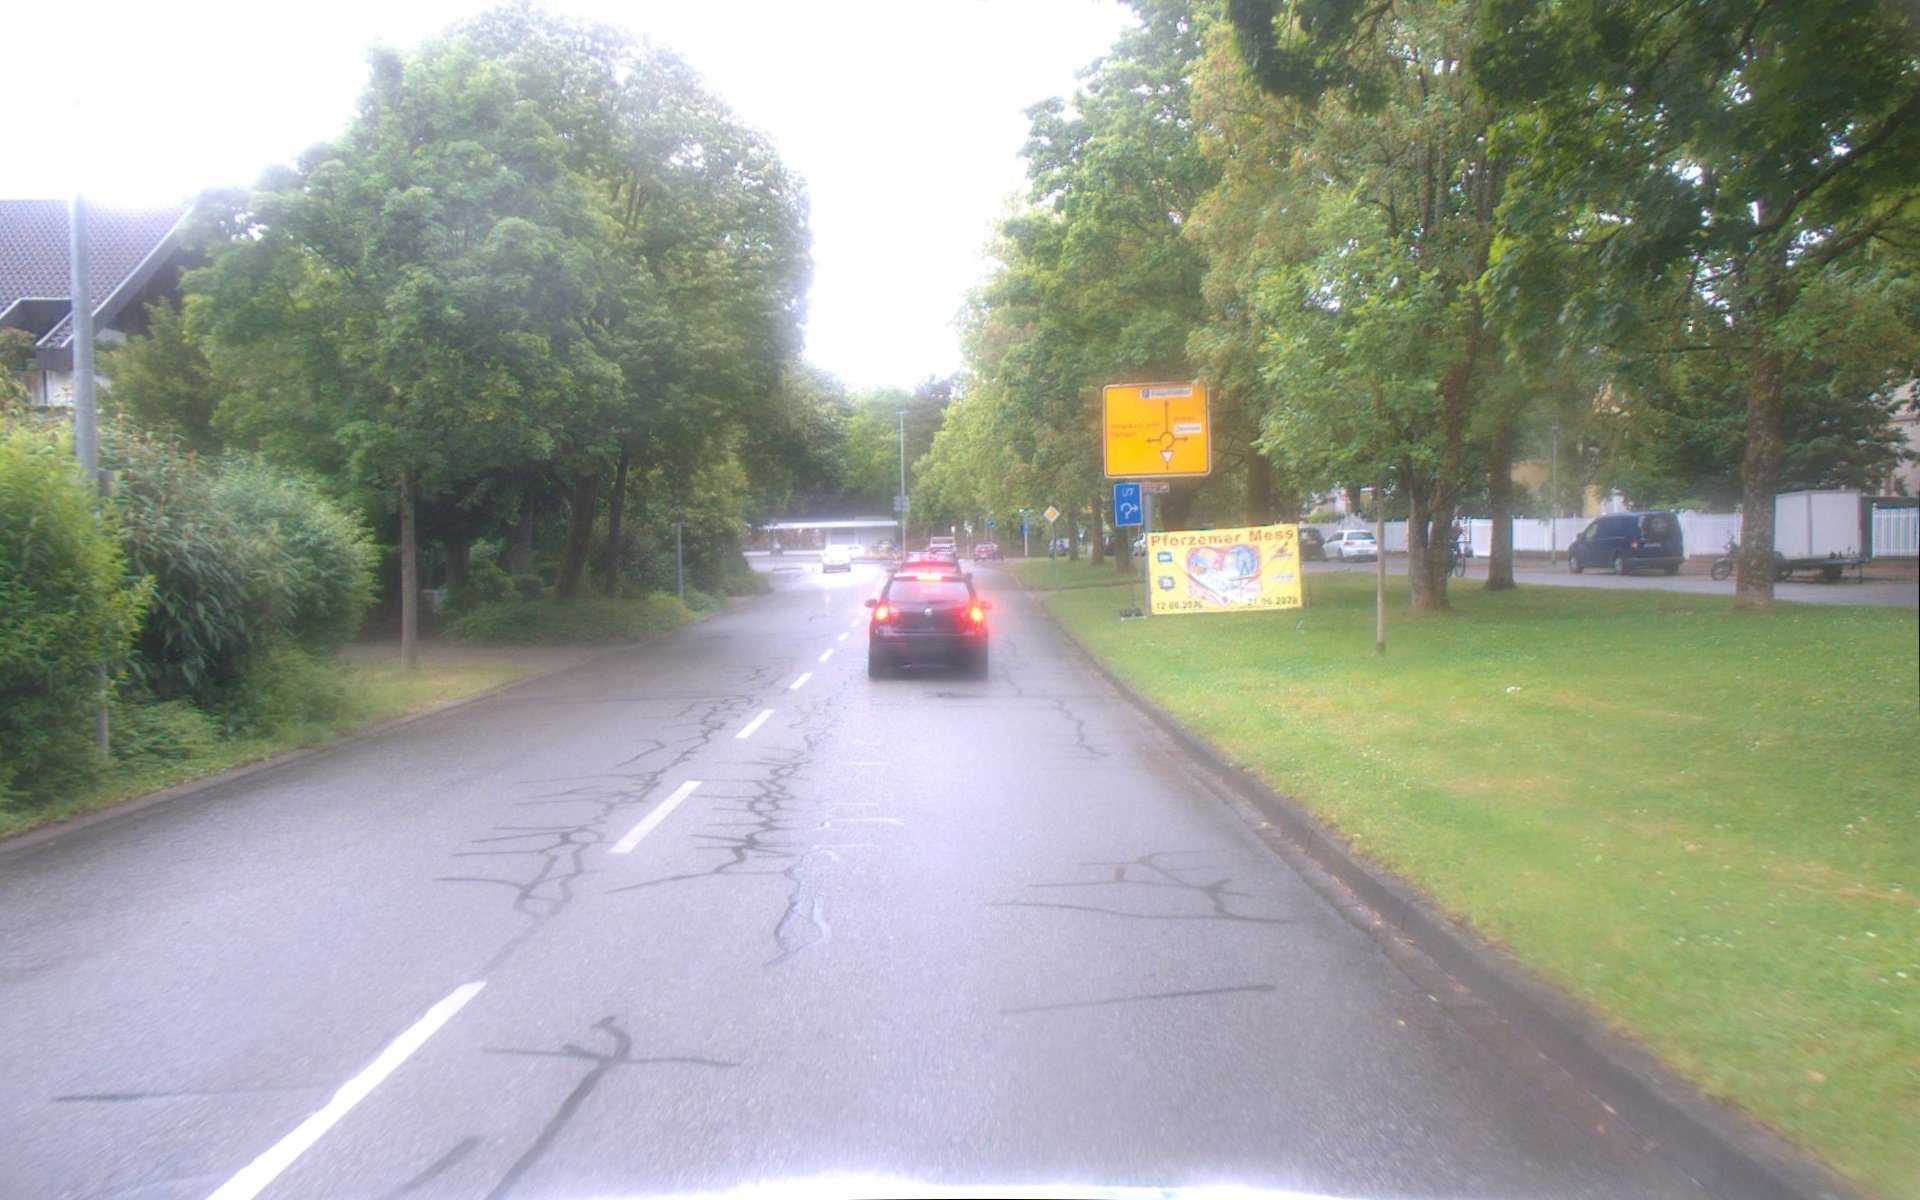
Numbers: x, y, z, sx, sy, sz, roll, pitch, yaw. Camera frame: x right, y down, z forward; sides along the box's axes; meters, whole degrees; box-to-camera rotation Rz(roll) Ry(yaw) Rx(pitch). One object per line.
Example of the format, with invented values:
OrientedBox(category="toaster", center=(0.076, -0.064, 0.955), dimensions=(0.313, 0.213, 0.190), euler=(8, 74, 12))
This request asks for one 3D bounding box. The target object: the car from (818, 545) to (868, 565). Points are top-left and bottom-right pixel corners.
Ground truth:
OrientedBox(category="car", center=(-9.948, -3.823, 140.573), dimensions=(3.961, 1.452, 1.594), euler=(-4, 4, -34))

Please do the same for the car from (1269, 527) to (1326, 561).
OrientedBox(category="car", center=(16.971, -2.862, 83.341), dimensions=(1.766, 1.556, 4.111), euler=(-3, 3, -3))

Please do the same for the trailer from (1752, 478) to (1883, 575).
OrientedBox(category="trailer", center=(20.619, -1.757, 39.876), dimensions=(1.408, 2.191, 2.947), euler=(-2, 2, -6))

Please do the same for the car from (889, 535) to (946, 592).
OrientedBox(category="car", center=(-1.398, -1.253, 55.856), dimensions=(1.817, 1.815, 4.000), euler=(-1, 2, 0))

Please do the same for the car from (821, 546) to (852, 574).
OrientedBox(category="car", center=(-7.656, -2.508, 102.791), dimensions=(1.728, 1.642, 4.140), euler=(-2, 2, -2))

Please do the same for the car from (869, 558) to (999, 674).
OrientedBox(category="car", center=(-0.370, 0.170, 24.547), dimensions=(1.762, 1.541, 3.754), euler=(1, 2, 0))

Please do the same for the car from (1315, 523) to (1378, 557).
OrientedBox(category="car", center=(17.707, -2.773, 75.982), dimensions=(1.585, 1.434, 4.006), euler=(-3, 3, -6))

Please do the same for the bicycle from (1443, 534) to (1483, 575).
OrientedBox(category="bicycle", center=(14.916, -1.347, 49.091), dimensions=(0.583, 1.158, 1.863), euler=(-1, 1, -1))

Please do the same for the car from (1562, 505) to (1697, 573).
OrientedBox(category="car", center=(19.963, -1.878, 49.555), dimensions=(1.903, 1.840, 4.647), euler=(-3, 3, -3))

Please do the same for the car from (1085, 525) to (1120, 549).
OrientedBox(category="car", center=(9.283, -4.118, 107.929), dimensions=(1.767, 1.409, 4.000), euler=(-3, 3, -1))

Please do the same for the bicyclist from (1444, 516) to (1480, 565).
OrientedBox(category="bicyclist", center=(14.910, -1.767, 49.163), dimensions=(0.729, 1.415, 1.000), euler=(-1, 1, -1))

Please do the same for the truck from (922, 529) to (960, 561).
OrientedBox(category="truck", center=(-1.311, -3.656, 110.671), dimensions=(2.368, 2.039, 5.149), euler=(-2, 2, -2))

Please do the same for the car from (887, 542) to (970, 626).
OrientedBox(category="car", center=(-0.708, -0.423, 38.878), dimensions=(1.817, 1.815, 4.000), euler=(-1, 2, 0))

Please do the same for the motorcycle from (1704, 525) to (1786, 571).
OrientedBox(category="motorcycle", center=(20.283, -1.346, 42.764), dimensions=(1.846, 1.111, 0.659), euler=(-1, 3, 19))
